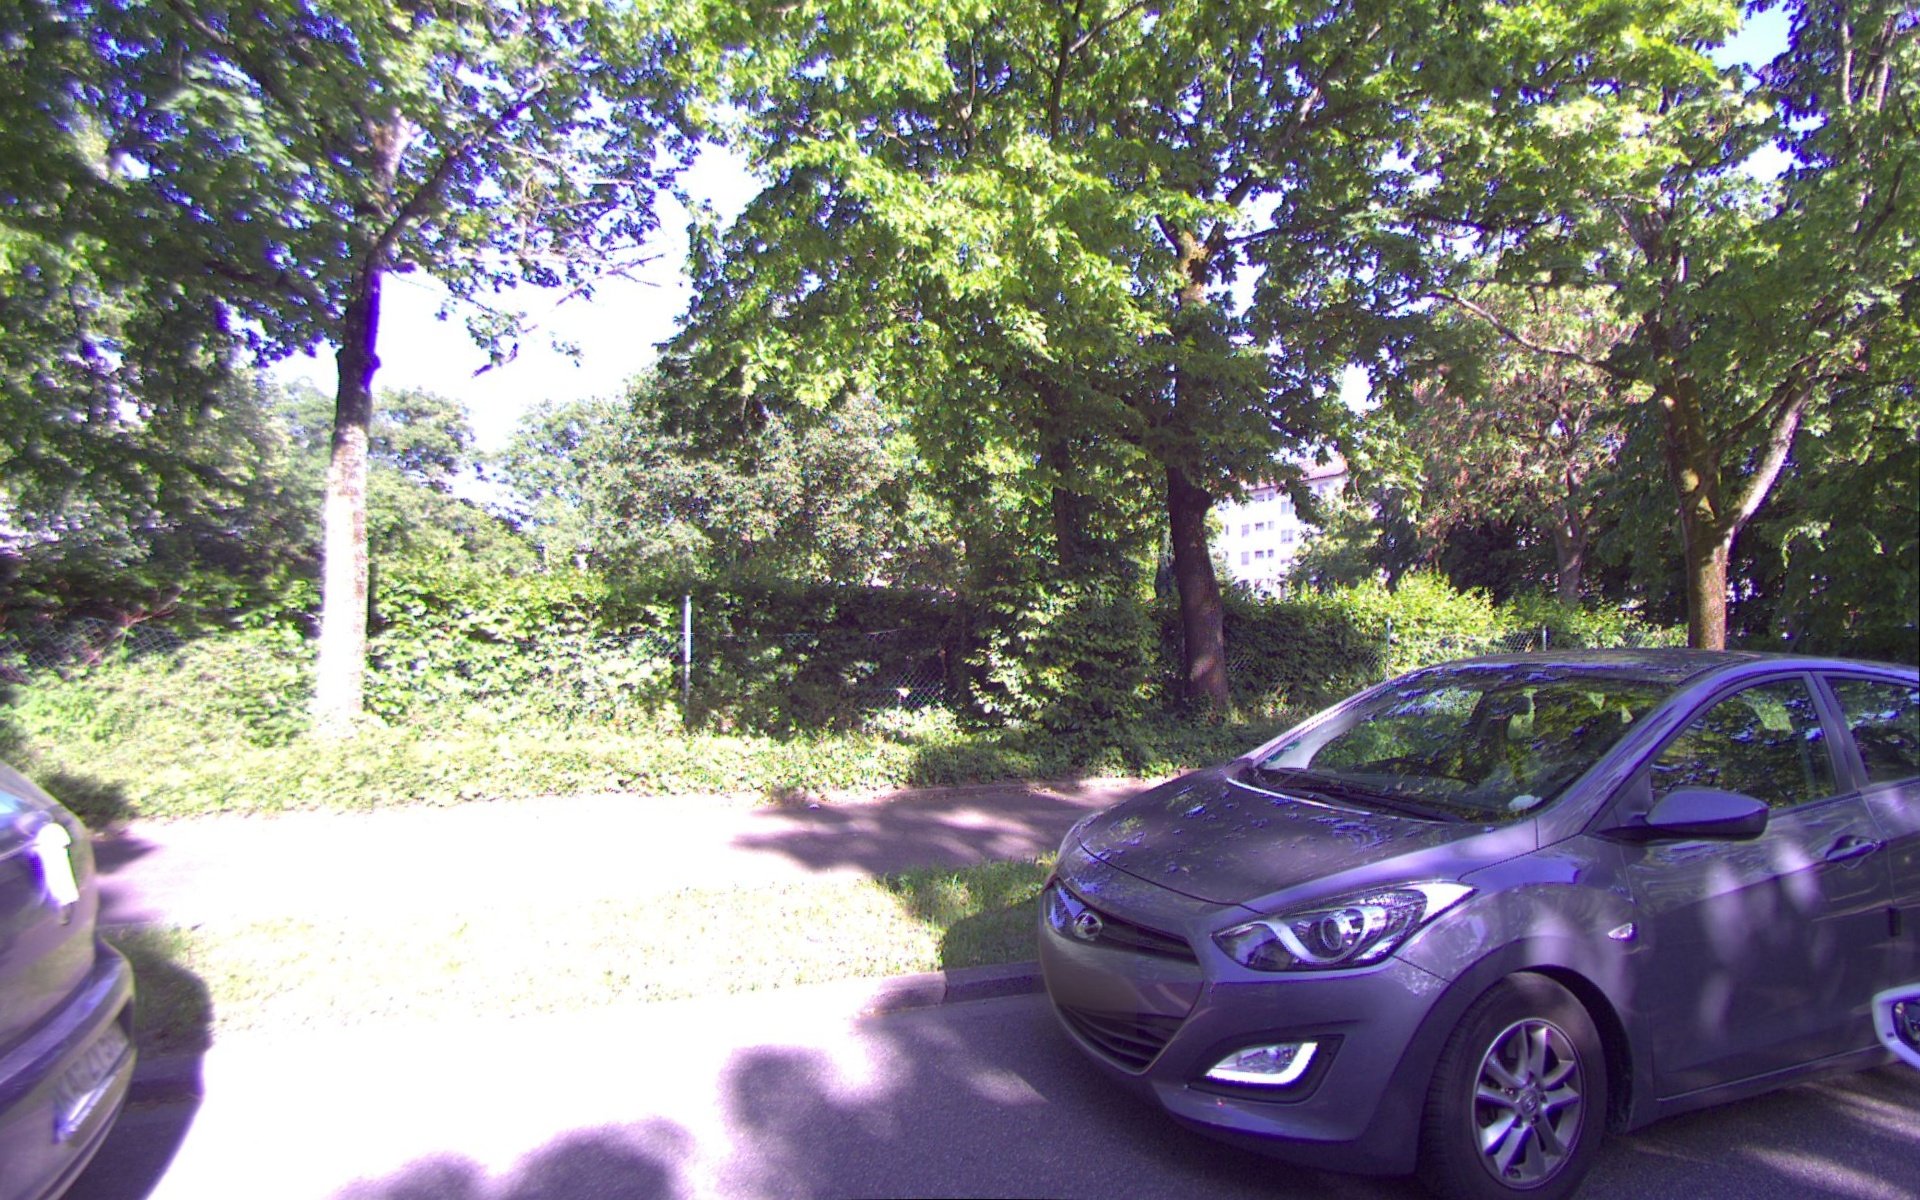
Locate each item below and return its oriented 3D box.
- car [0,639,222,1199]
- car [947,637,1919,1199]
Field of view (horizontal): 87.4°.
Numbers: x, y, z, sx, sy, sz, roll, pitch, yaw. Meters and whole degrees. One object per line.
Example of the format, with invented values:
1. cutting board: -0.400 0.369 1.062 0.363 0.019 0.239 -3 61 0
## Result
1. car: -3.480 0.785 1.466 3.604 1.445 1.595 1 -2 -27
2. car: 2.202 0.875 3.702 4.179 1.473 1.753 1 -2 -21
